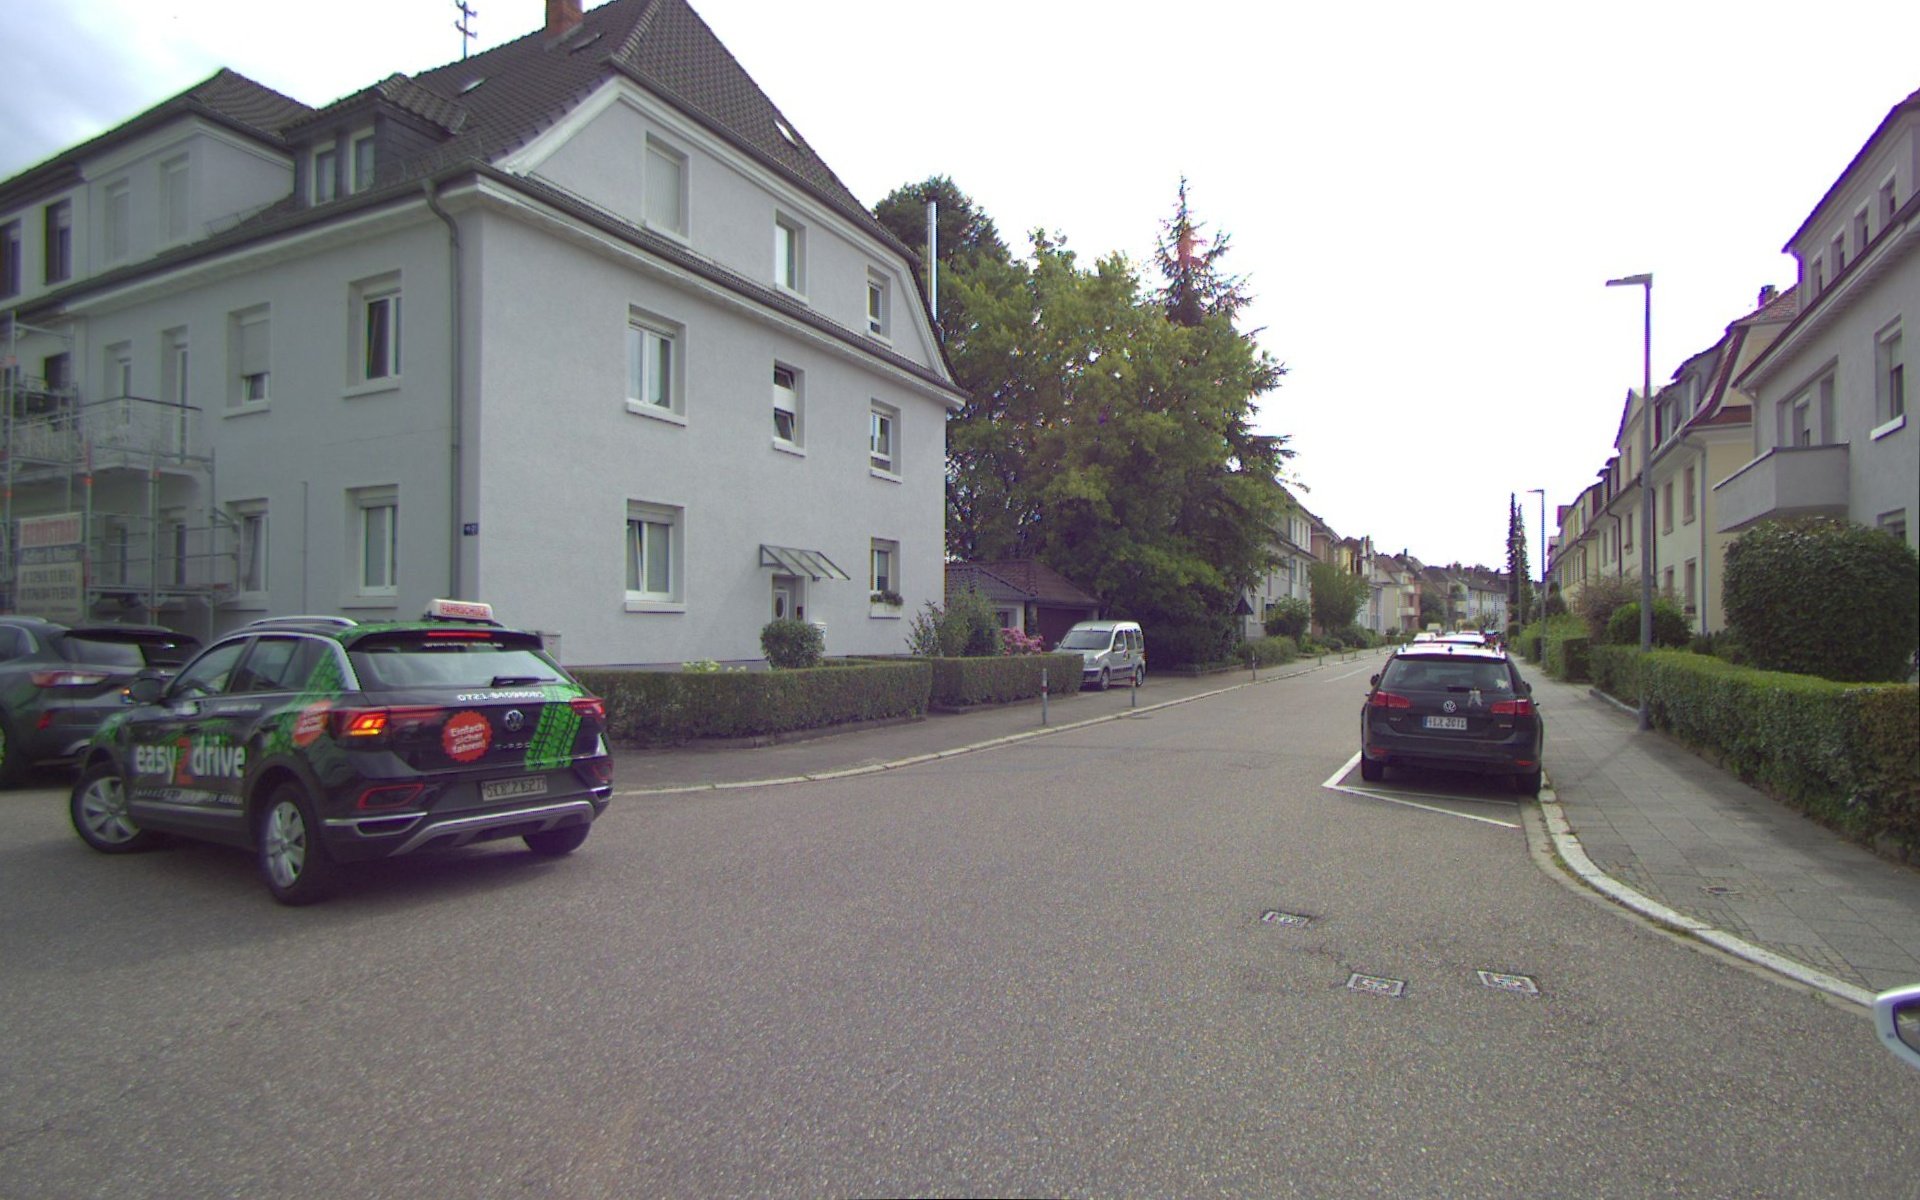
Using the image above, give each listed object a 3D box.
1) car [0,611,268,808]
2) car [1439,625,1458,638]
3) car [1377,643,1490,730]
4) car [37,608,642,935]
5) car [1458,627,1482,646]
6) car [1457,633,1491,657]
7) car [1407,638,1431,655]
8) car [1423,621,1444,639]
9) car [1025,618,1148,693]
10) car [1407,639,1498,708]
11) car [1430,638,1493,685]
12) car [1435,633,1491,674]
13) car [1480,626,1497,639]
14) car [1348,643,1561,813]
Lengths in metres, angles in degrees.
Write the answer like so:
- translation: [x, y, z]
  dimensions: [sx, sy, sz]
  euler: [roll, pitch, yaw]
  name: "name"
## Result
- translation: [-9.796, 1.013, 10.791]
  dimensions: [4.260, 1.749, 1.998]
  euler: [0, -1, 25]
  name: "car"
- translation: [64.471, 4.102, 132.488]
  dimensions: [1.965, 1.661, 3.992]
  euler: [0, -2, 31]
  name: "car"
- translation: [9.708, 1.669, 20.440]
  dimensions: [1.826, 1.491, 4.169]
  euler: [0, -2, 29]
  name: "car"
- translation: [-4.157, 0.901, 6.599]
  dimensions: [3.974, 1.540, 1.818]
  euler: [-2, -3, 32]
  name: "car"
- translation: [44.490, 3.168, 87.526]
  dimensions: [1.826, 1.599, 4.170]
  euler: [0, -2, 28]
  name: "car"
- translation: [33.593, 2.893, 65.580]
  dimensions: [1.826, 1.491, 4.169]
  euler: [0, -2, 29]
  name: "car"
- translation: [49.369, 4.997, 108.051]
  dimensions: [1.965, 1.661, 3.992]
  euler: [0, -2, 31]
  name: "car"
- translation: [56.046, 3.555, 118.894]
  dimensions: [1.964, 2.040, 3.993]
  euler: [-1, -2, 30]
  name: "car"
- translation: [3.504, 1.446, 27.192]
  dimensions: [1.964, 1.862, 3.993]
  euler: [0, -2, 29]
  name: "car"
- translation: [12.248, 1.751, 24.862]
  dimensions: [1.826, 1.491, 4.169]
  euler: [0, -2, 29]
  name: "car"
- translation: [17.591, 2.091, 35.162]
  dimensions: [1.826, 1.491, 4.169]
  euler: [0, -2, 29]
  name: "car"
- translation: [20.010, 2.089, 39.879]
  dimensions: [1.826, 1.491, 4.169]
  euler: [0, -2, 29]
  name: "car"
- translation: [66.217, 4.050, 125.759]
  dimensions: [1.826, 1.599, 4.169]
  euler: [0, -2, 29]
  name: "car"
- translation: [5.558, 1.278, 11.546]
  dimensions: [1.824, 1.491, 4.172]
  euler: [0, -2, 24]
  name: "car"
